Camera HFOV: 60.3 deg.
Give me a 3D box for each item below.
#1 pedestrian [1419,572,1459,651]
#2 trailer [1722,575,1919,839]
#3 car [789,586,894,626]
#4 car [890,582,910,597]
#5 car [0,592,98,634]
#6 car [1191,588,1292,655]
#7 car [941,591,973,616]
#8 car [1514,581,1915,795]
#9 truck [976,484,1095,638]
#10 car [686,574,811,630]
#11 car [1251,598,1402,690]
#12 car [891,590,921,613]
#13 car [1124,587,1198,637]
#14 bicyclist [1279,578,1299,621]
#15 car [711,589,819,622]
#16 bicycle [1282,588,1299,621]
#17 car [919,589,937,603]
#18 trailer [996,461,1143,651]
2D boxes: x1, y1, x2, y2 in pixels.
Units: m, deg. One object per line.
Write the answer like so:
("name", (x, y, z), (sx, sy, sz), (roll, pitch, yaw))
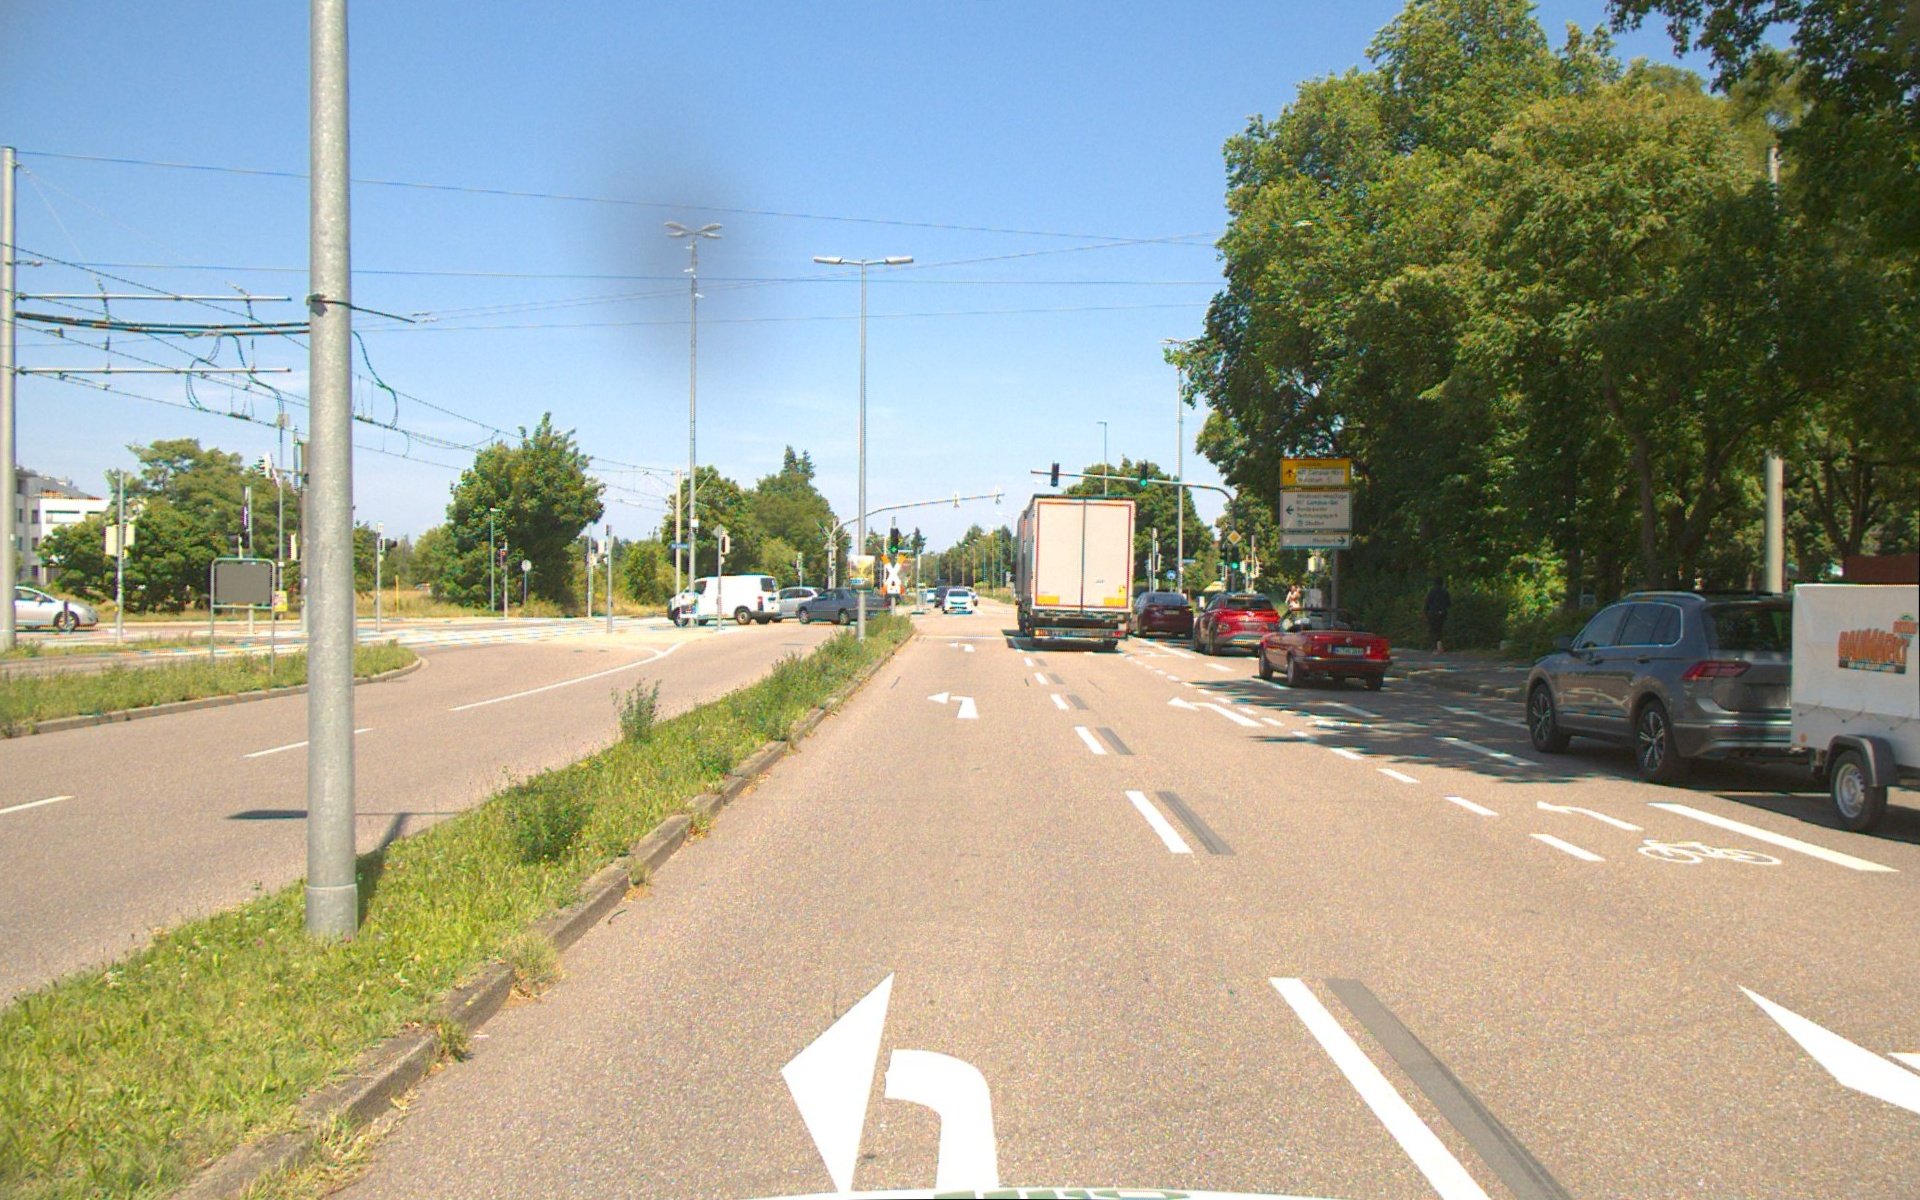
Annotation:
("pedestrian", (11.467, 0.269, 39.617), (0.737, 1.847, 0.693), (-1, 0, -1))
("trailer", (6.897, 0.695, 11.890), (1.439, 1.698, 2.855), (2, 1, -1))
("car", (-4.560, 0.227, 63.205), (1.880, 1.395, 4.368), (1, 1, -39))
("car", (-5.735, -1.001, 158.355), (1.820, 1.396, 4.155), (2, 1, -1))
("car", (-30.792, 0.408, 54.430), (4.223, 1.316, 1.980), (0, 1, -31))
("car", (7.109, 0.513, 42.138), (1.820, 1.576, 3.886), (2, 1, -1))
("car", (-0.188, 0.178, 98.714), (1.820, 1.396, 4.155), (2, 1, -1))
("car", (6.828, 0.685, 15.546), (1.665, 1.683, 4.398), (2, 1, -1))
("truck", (2.245, -1.231, 52.630), (2.771, 4.419, 8.279), (2, 1, -3))
("car", (-8.621, 0.056, 67.405), (4.634, 2.148, 2.001), (1, 1, 20))
("car", (6.404, 0.718, 29.318), (1.621, 1.421, 4.266), (2, 1, -1))
("car", (-3.500, 0.113, 108.093), (1.820, 1.396, 4.155), (2, 1, -1))
("car", (6.679, 0.363, 55.356), (1.952, 1.529, 4.503), (0, 1, 1))
("bicyclist", (13.724, -0.033, 69.014), (0.785, 1.757, 0.679), (-2, 0, 11))
("car", (-8.431, 0.236, 71.604), (4.351, 1.395, 1.887), (0, 1, -21))
("bicycle", (13.779, 0.174, 69.032), (0.630, 1.327, 1.627), (-2, 0, 11))
("car", (-3.332, -0.388, 173.202), (1.820, 1.396, 4.155), (2, 1, -1))
("trailer", (2.734, -1.103, 44.141), (2.771, 4.498, 8.744), (2, 1, -3))
